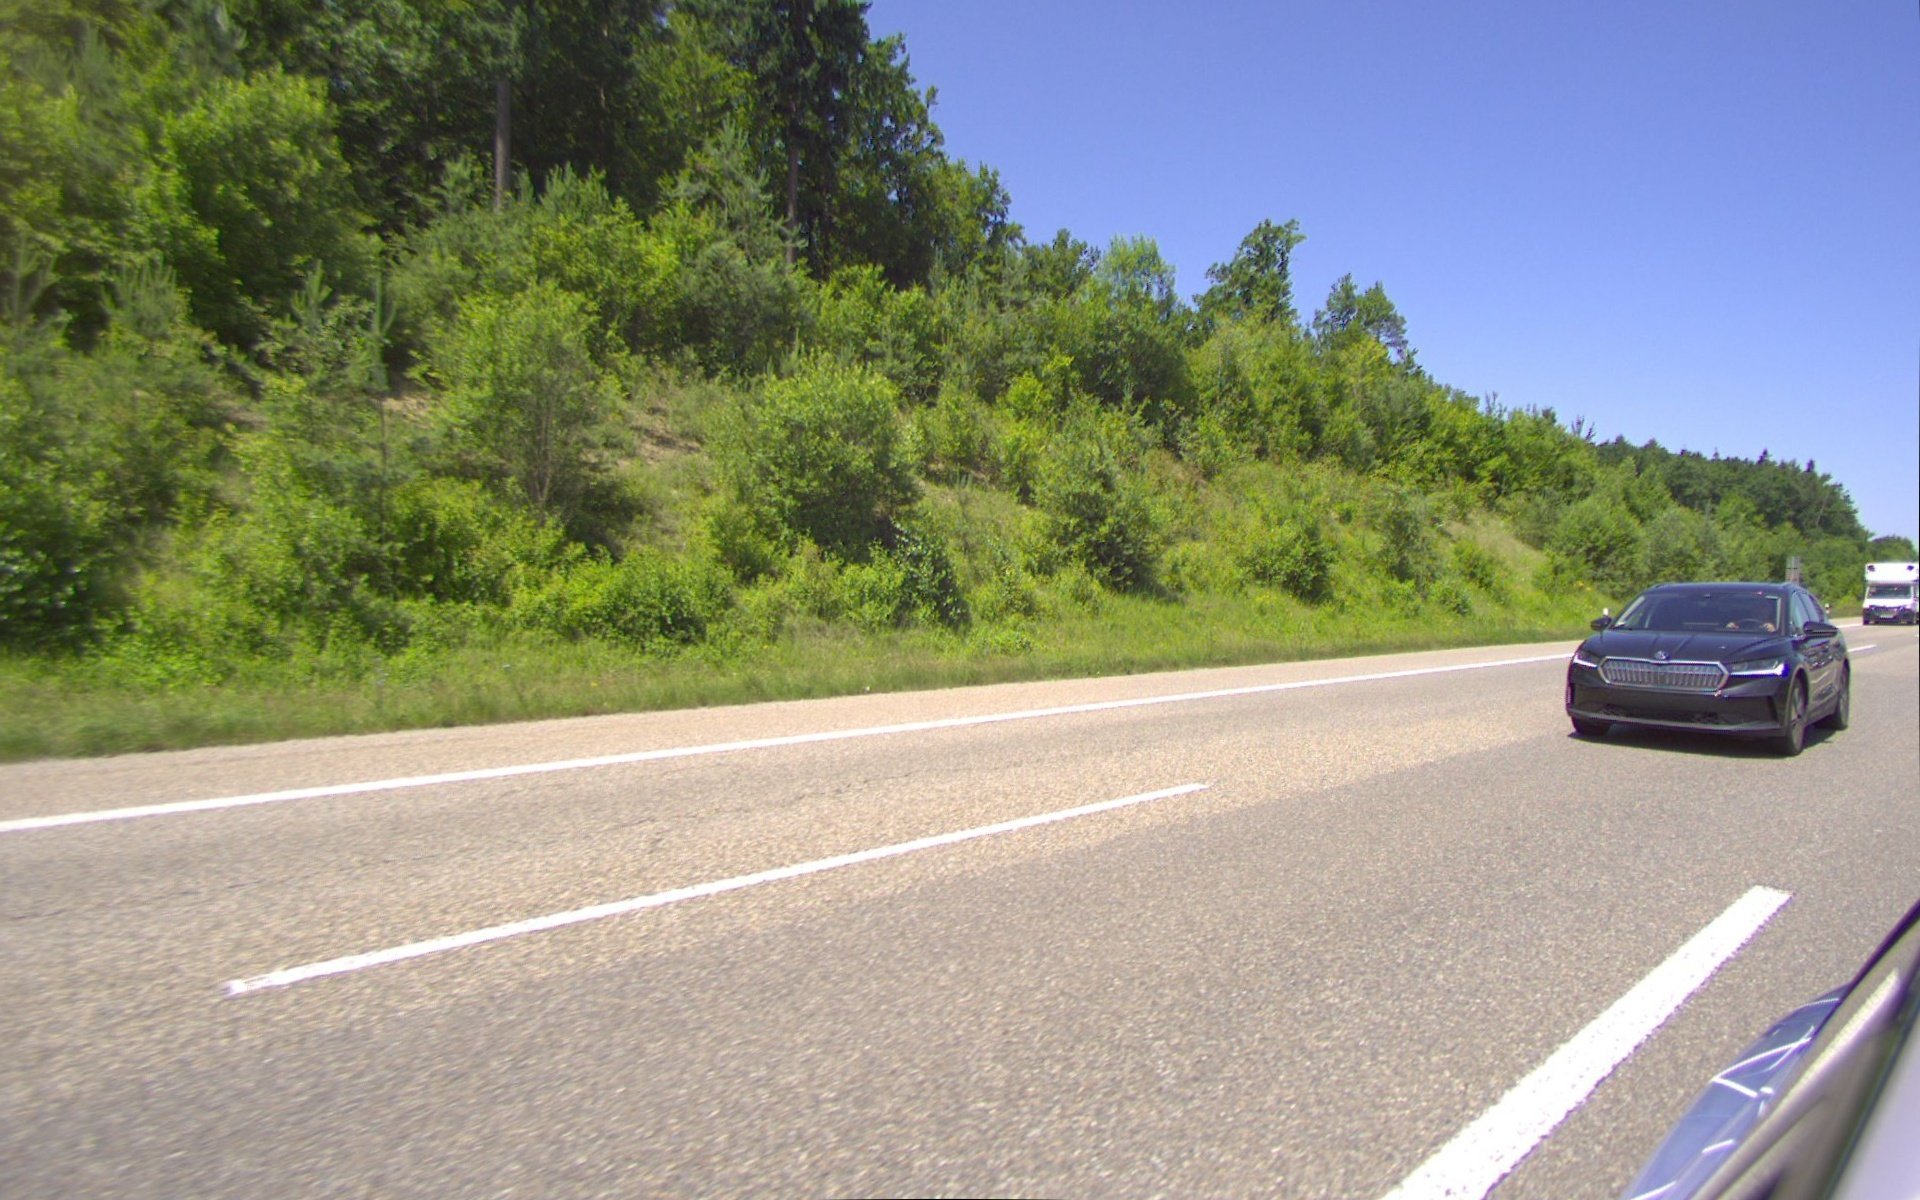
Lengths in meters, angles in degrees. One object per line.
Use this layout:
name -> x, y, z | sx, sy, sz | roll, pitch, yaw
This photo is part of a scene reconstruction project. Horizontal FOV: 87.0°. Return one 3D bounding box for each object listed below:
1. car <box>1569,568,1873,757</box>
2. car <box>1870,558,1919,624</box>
car -> 8.394, 0.493, 11.002 | 4.384, 1.639, 1.986 | -1, 1, -44
car -> 50.925, -0.521, 54.311 | 7.492, 3.378, 2.300 | -1, 0, -42
